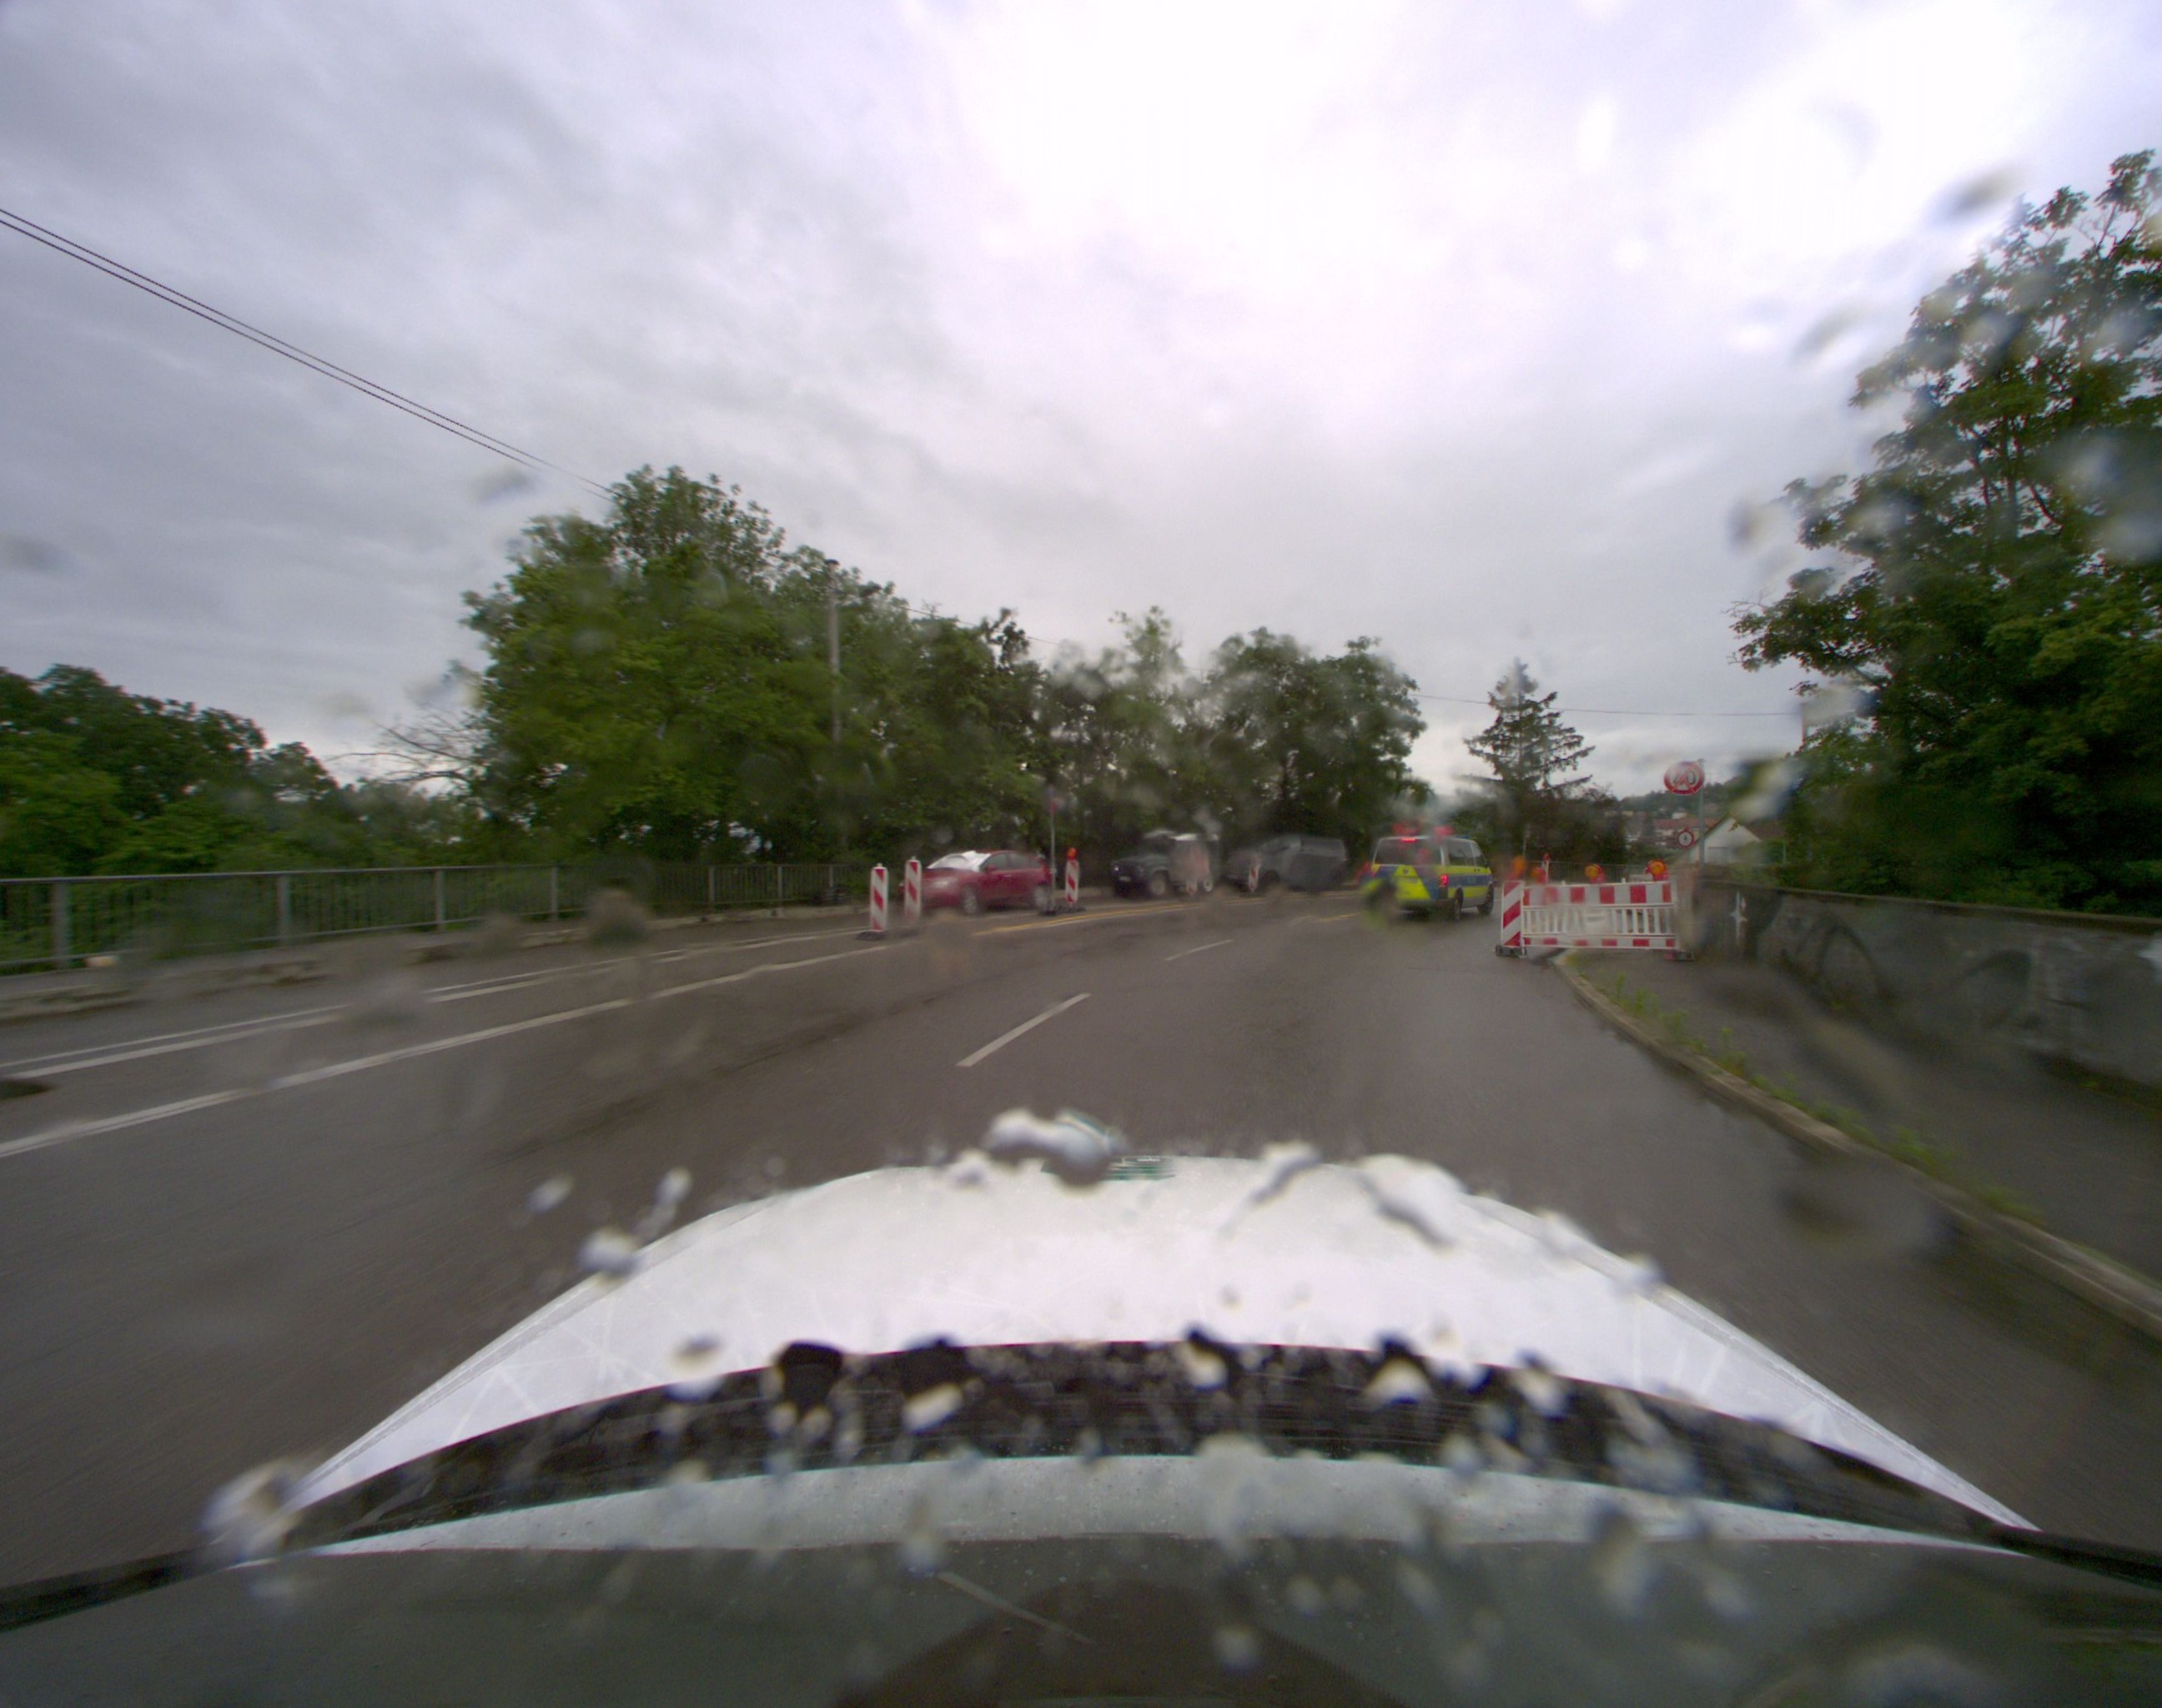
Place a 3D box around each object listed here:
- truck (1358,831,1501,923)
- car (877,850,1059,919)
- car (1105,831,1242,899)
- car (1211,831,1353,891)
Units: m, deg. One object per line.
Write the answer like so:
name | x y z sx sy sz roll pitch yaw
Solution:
truck | 8.734 0.511 20.174 1.974 2.014 4.764 -2 -1 39
car | -2.598 0.634 19.675 1.941 1.440 4.350 1 1 34
car | 3.098 0.276 26.420 1.848 2.013 4.842 2 2 44
car | 7.285 0.232 29.449 4.963 2.013 1.981 1 1 -30
